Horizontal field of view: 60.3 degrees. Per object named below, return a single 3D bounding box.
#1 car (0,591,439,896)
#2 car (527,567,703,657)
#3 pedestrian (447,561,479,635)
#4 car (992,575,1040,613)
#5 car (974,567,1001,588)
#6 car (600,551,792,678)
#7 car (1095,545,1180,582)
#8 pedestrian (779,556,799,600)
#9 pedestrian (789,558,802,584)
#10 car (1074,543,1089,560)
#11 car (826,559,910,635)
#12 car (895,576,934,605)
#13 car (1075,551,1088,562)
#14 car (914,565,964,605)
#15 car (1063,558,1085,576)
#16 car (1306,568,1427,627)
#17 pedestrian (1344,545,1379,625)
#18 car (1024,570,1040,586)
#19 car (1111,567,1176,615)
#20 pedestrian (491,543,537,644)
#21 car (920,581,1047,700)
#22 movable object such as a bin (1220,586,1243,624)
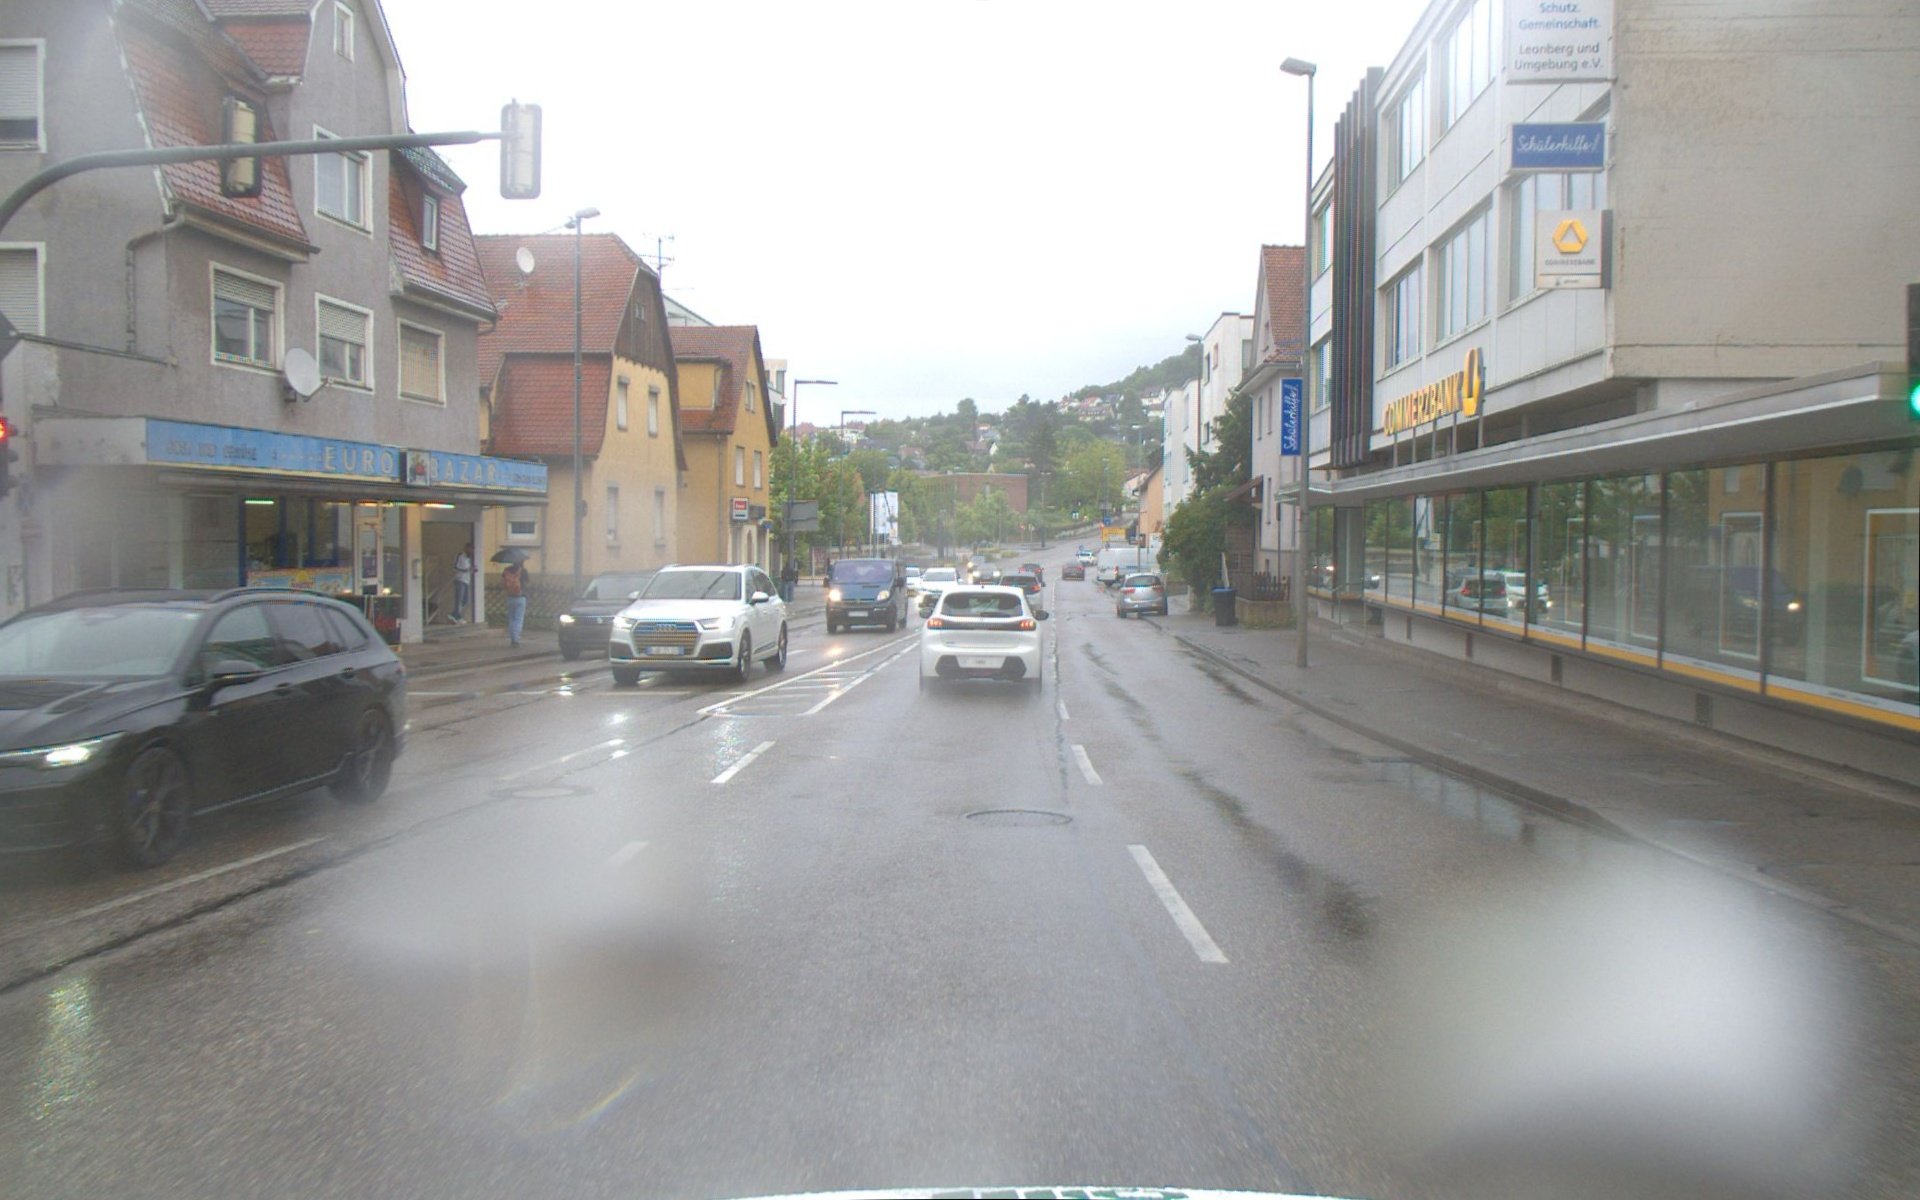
[{"bbox_3d":[-4.815,0.685,10.125,1.721,1.459,4.382,0,0,2],"label":"car"},{"bbox_3d":[-6.728,0.211,32.843,1.958,1.646,4.952,0,0,6],"label":"car"},{"bbox_3d":[-10.580,-0.045,35.246,0.532,1.584,0.446,0,0,4],"label":"pedestrian"},{"bbox_3d":[2.046,-0.238,60.788,1.705,1.318,3.335,0,1,2],"label":"car"},{"bbox_3d":[1.961,-1.584,117.663,1.731,1.438,4.527,0,0,3],"label":"car"},{"bbox_3d":[-3.897,0.193,25.288,2.055,1.742,4.850,0,0,1],"label":"car"},{"bbox_3d":[12.173,-2.433,113.189,2.260,2.423,6.578,0,0,44],"label":"car"},{"bbox_3d":[-7.141,-0.919,69.234,0.784,1.819,0.881,0,0,-3],"label":"pedestrian"},{"bbox_3d":[-11.057,-1.953,111.247,0.792,1.768,1.002,0,0,-3],"label":"pedestrian"},{"bbox_3d":[15.647,-6.241,213.032,1.952,2.049,4.002,0,0,3],"label":"car"},{"bbox_3d":[-2.472,-0.078,45.663,1.925,1.972,5.180,0,0,1],"label":"car"},{"bbox_3d":[-2.418,-0.497,88.341,1.615,1.442,4.141,-2,0,4],"label":"car"},{"bbox_3d":[13.411,-4.825,182.911,1.356,1.146,2.611,0,0,3],"label":"car"},{"bbox_3d":[-0.844,-0.611,70.419,1.839,1.637,4.720,0,0,3],"label":"car"},{"bbox_3d":[9.489,-2.725,137.386,1.698,1.412,3.353,1,1,2],"label":"car"},{"bbox_3d":[11.386,-0.069,46.464,1.338,1.528,3.304,-3,2,-31],"label":"car"},{"bbox_3d":[9.256,-0.347,38.125,0.714,1.811,0.954,1,2,11],"label":"pedestrian"},{"bbox_3d":[5.354,-1.651,123.126,1.188,1.176,2.270,0,0,1],"label":"car"},{"bbox_3d":[6.747,-0.297,61.137,1.970,1.650,4.361,1,-1,1],"label":"car"},{"bbox_3d":[-8.820,-0.129,32.714,0.648,1.954,0.946,2,0,-5],"label":"pedestrian"},{"bbox_3d":[0.377,0.531,23.618,1.656,1.546,3.934,0,0,2],"label":"car"},{"bbox_3d":[7.962,0.131,48.586,0.563,1.066,0.831,-1,2,3],"label":"movable object such as a bin"}]
